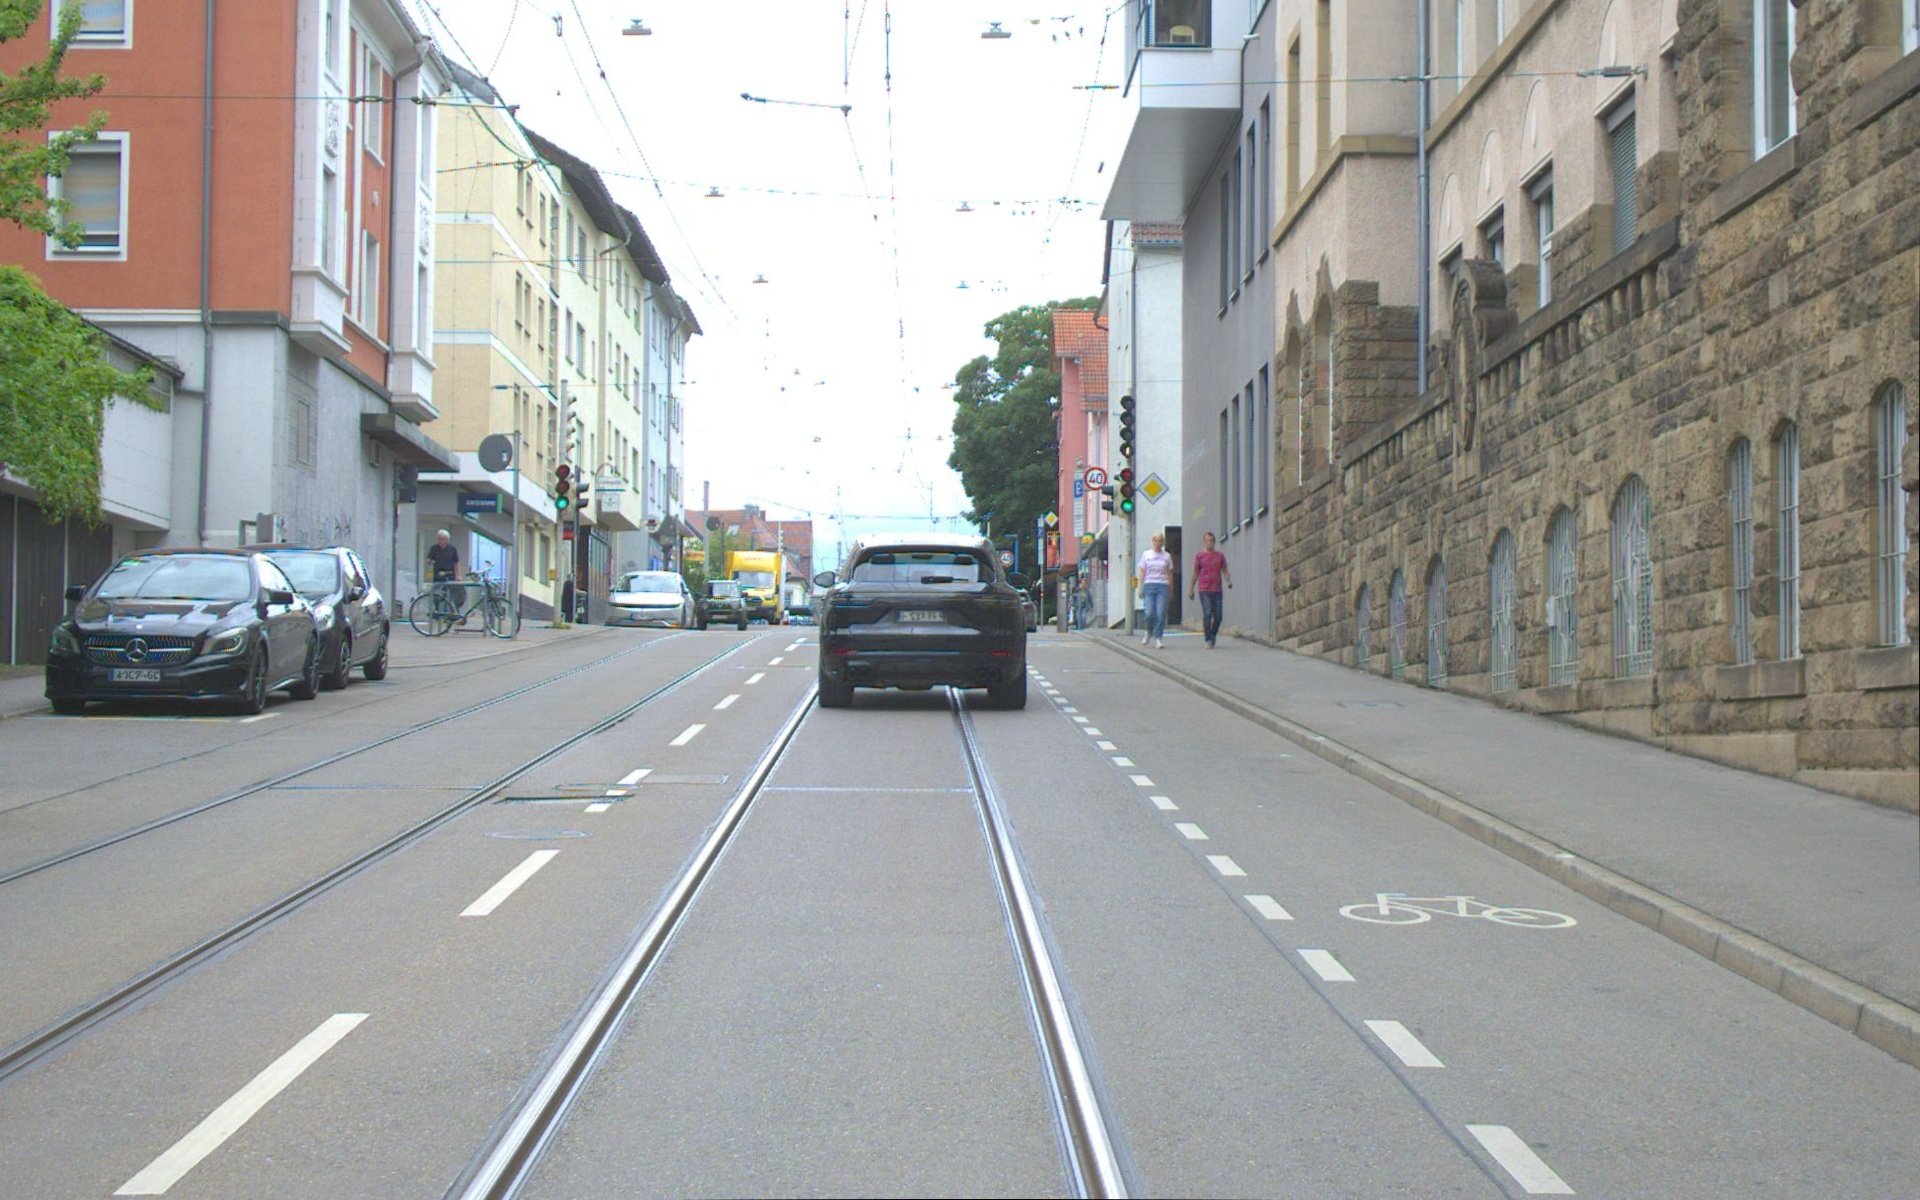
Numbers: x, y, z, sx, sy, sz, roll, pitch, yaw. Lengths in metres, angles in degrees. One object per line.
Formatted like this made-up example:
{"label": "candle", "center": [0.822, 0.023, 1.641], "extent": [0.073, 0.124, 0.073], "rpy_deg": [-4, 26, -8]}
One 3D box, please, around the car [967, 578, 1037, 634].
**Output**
{"label": "car", "center": [1.223, 0.160, 101.926], "extent": [1.993, 1.558, 4.290], "rpy_deg": [1, 1, 0]}

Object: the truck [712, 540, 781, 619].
{"label": "truck", "center": [-8.418, -0.830, 136.495], "extent": [2.302, 3.026, 9.034], "rpy_deg": [1, 0, -1]}

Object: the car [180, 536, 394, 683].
{"label": "car", "center": [-6.994, 0.068, 36.017], "extent": [1.515, 1.441, 3.710], "rpy_deg": [1, 1, 0]}

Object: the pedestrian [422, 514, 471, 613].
{"label": "pedestrian", "center": [-9.294, -0.667, 62.269], "extent": [0.775, 1.770, 0.650], "rpy_deg": [1, 1, 0]}

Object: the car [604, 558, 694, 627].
{"label": "car", "center": [-7.544, -0.202, 83.733], "extent": [1.855, 1.601, 4.297], "rpy_deg": [1, 1, -1]}

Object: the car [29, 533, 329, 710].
{"label": "car", "center": [-6.864, 0.147, 30.619], "extent": [1.712, 1.441, 4.290], "rpy_deg": [1, 1, 0]}

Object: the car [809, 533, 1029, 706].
{"label": "car", "center": [-0.385, 0.143, 33.614], "extent": [1.993, 1.558, 4.290], "rpy_deg": [1, 1, 0]}

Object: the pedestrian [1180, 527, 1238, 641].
{"label": "pedestrian", "center": [3.671, -0.239, 50.657], "extent": [0.791, 1.661, 0.798], "rpy_deg": [1, 1, 2]}

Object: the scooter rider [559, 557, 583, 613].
{"label": "scooter rider", "center": [-11.207, -0.435, 98.945], "extent": [0.648, 1.580, 0.766], "rpy_deg": [1, 1, -5]}

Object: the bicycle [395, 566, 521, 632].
{"label": "bicycle", "center": [-7.891, -0.018, 54.054], "extent": [1.911, 0.996, 0.479], "rpy_deg": [1, 1, 0]}

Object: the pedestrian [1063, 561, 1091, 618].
{"label": "pedestrian", "center": [3.467, -0.308, 101.829], "extent": [0.791, 1.661, 0.798], "rpy_deg": [1, 1, 2]}

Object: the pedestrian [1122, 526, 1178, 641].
{"label": "pedestrian", "center": [2.792, -0.249, 50.592], "extent": [0.791, 1.661, 0.798], "rpy_deg": [1, 1, 2]}

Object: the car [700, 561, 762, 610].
{"label": "car", "center": [-7.733, -0.501, 116.275], "extent": [1.855, 1.601, 4.297], "rpy_deg": [1, 1, -1]}
